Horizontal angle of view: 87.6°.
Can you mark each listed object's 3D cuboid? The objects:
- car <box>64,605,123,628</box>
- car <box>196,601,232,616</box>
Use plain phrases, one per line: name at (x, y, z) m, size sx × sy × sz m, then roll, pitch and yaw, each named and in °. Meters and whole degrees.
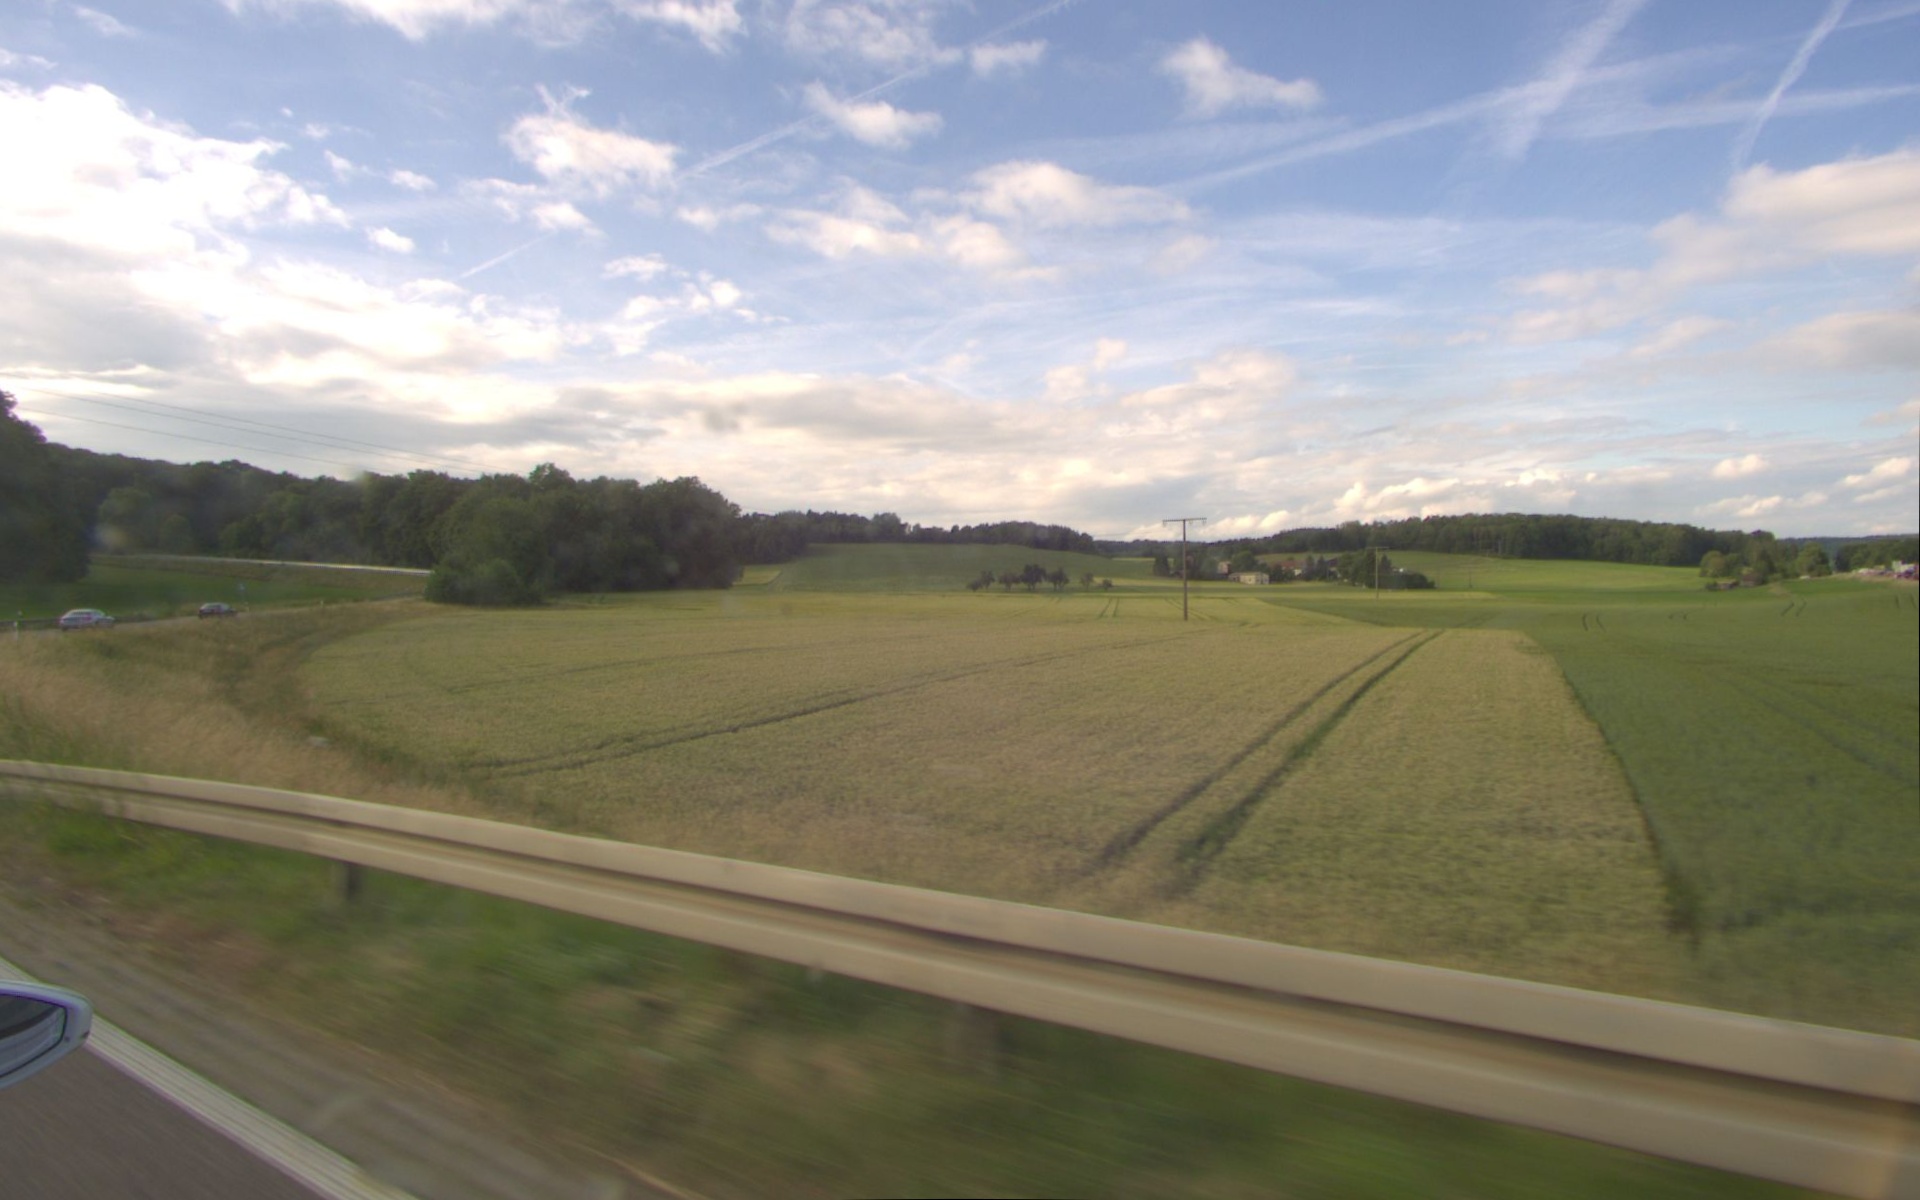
car at (-58.181, 1.090, 67.284) m, size 1.659 × 1.394 × 3.988 m, roll -2°, pitch 1°, yaw -21°
car at (-66.191, 0.763, 88.941) m, size 1.449 × 1.244 × 3.293 m, roll -3°, pitch 1°, yaw -17°
